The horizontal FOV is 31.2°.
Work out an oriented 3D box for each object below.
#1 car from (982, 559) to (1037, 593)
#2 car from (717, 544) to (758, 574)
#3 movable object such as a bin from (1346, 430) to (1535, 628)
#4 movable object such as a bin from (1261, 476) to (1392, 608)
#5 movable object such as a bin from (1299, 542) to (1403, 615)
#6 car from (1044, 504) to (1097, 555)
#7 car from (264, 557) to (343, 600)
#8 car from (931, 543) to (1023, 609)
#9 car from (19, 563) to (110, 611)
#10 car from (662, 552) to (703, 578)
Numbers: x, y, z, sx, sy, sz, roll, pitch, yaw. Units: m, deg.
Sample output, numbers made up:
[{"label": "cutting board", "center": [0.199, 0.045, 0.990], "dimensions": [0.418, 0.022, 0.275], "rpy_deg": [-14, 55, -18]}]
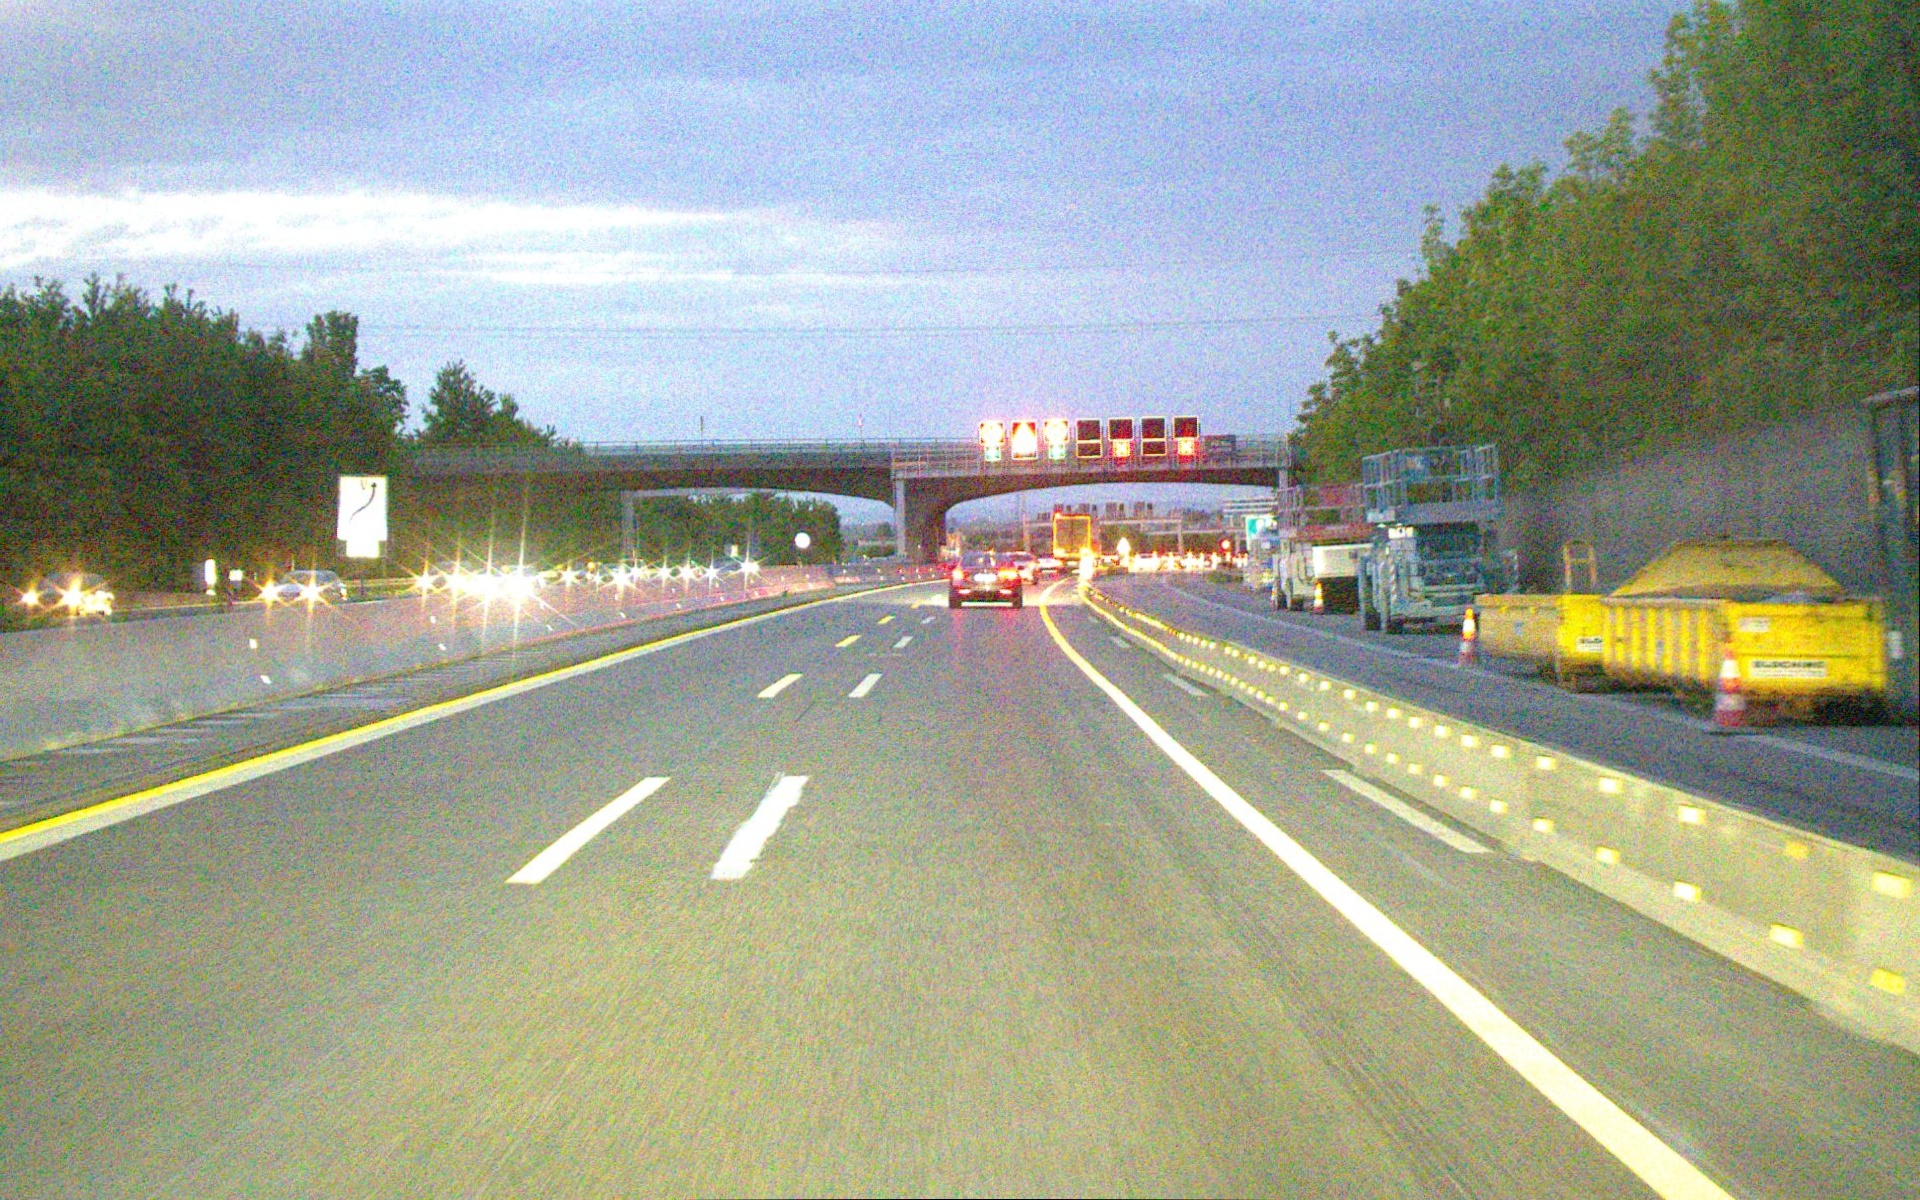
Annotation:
[{"label": "car", "center": [2.154, -1.032, 148.947], "dimensions": [1.972, 1.432, 3.999], "rpy_deg": [1, 0, 6]}, {"label": "car", "center": [-13.364, -2.443, 206.740], "dimensions": [1.901, 1.732, 4.807], "rpy_deg": [1, 0, 3]}, {"label": "movable object such as a bin", "center": [8.497, -1.230, 61.314], "dimensions": [2.564, 3.307, 5.579], "rpy_deg": [-1, 0, 1]}, {"label": "movable object such as a bin", "center": [8.923, -1.398, 84.269], "dimensions": [2.621, 3.097, 5.806], "rpy_deg": [-1, 0, 1]}, {"label": "movable object such as a bin", "center": [8.991, -0.487, 79.314], "dimensions": [1.993, 1.596, 4.084], "rpy_deg": [-2, 0, 2]}, {"label": "car", "center": [7.748, -4.923, 240.668], "dimensions": [3.605, 3.384, 8.014], "rpy_deg": [1, 0, 2]}, {"label": "car", "center": [-23.289, -0.767, 122.090], "dimensions": [1.673, 1.465, 4.646], "rpy_deg": [1, 0, 3]}, {"label": "car", "center": [0.448, -0.619, 88.135], "dimensions": [2.265, 1.616, 4.000], "rpy_deg": [1, 0, 0]}, {"label": "car", "center": [-28.461, -0.410, 109.320], "dimensions": [1.577, 1.465, 4.226], "rpy_deg": [1, 0, 3]}, {"label": "car", "center": [-16.677, -2.104, 206.872], "dimensions": [1.810, 1.480, 4.701], "rpy_deg": [1, 0, 3]}]
